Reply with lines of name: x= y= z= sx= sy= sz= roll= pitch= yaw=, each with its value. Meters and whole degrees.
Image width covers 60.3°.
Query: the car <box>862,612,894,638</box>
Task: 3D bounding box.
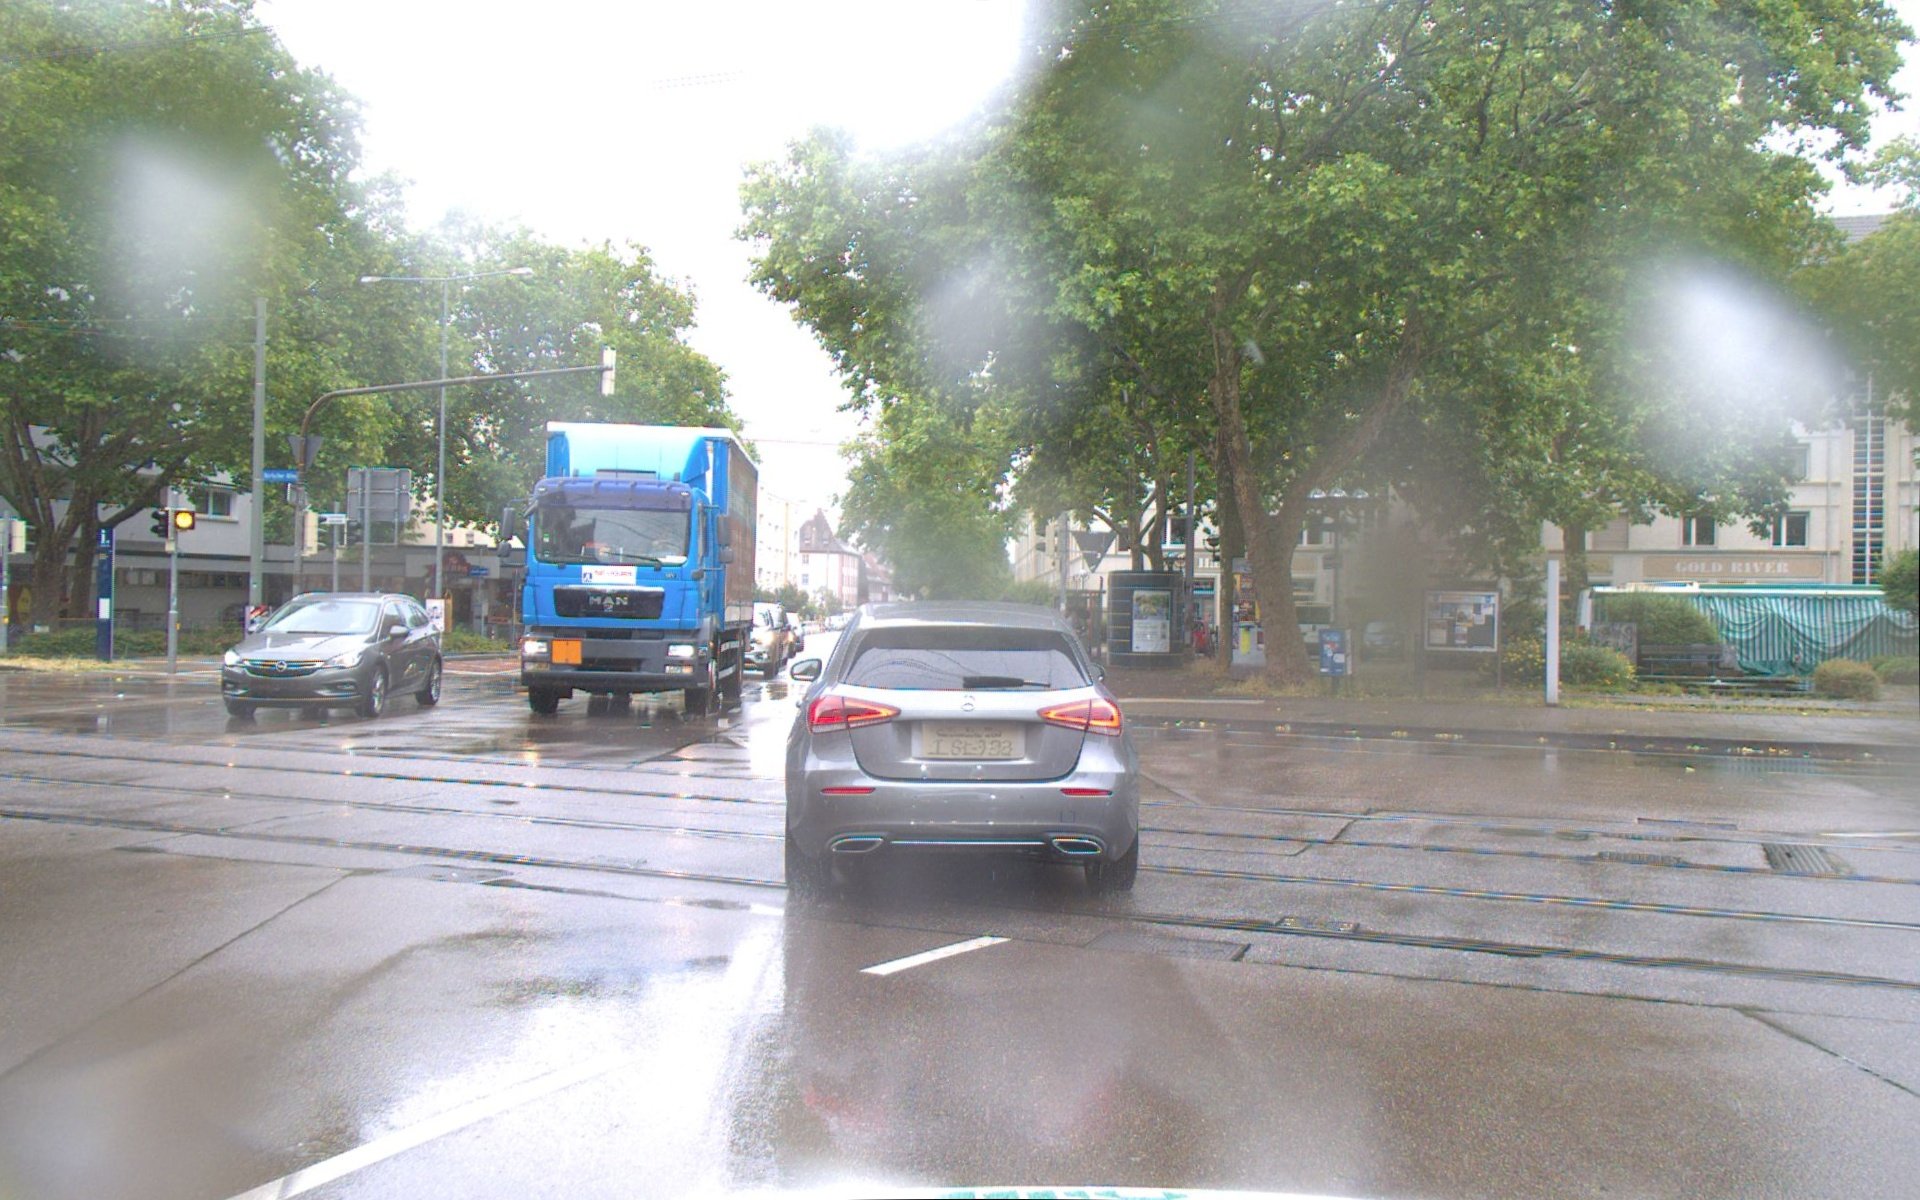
car: x=-5.395 y=1.629 z=108.086 sx=1.954 sy=1.601 sz=3.996 roll=1 pitch=-1 yaw=-5

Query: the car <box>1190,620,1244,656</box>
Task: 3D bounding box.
car: x=10.522 y=1.567 z=67.622 sx=1.550 sy=1.360 sz=3.262 roll=0 pitch=-3 yaw=20

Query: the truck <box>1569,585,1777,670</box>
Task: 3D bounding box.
truck: x=24.015 y=0.897 z=55.999 sx=6.245 sy=2.747 sz=2.269 roll=0 pitch=-1 yaw=18

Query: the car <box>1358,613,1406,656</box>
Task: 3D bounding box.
car: x=16.683 y=1.367 z=65.299 sx=1.644 sy=1.603 sz=3.737 roll=1 pitch=-1 yaw=17

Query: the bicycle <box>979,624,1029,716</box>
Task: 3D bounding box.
bicycle: x=0.741 y=1.105 z=27.081 sx=0.733 sy=1.401 sz=2.708 roll=0 pitch=0 yaw=3

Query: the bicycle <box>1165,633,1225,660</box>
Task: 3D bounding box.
bicycle: x=8.964 y=1.767 z=63.056 sx=2.205 sy=0.985 sz=0.534 roll=0 pitch=-1 yaw=20

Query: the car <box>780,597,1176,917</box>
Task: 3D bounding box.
car: x=-0.019 y=0.725 z=9.231 sx=1.756 sy=1.396 sz=3.504 roll=2 pitch=0 yaw=-4

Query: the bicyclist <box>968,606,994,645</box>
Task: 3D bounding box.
bicyclist: x=1.014 y=1.281 z=81.942 sx=0.925 sy=1.901 sz=1.135 roll=1 pitch=-3 yaw=-22

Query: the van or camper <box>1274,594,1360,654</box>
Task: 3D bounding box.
van or camper: x=14.404 y=0.961 z=66.474 sx=2.348 sy=2.270 sz=5.427 roll=0 pitch=-1 yaw=24

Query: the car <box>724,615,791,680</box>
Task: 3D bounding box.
car: x=-6.209 y=1.426 z=51.154 sx=1.771 sy=1.894 sz=4.106 roll=1 pitch=-1 yaw=-3

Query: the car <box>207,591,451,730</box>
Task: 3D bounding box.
car: x=-7.835 y=0.701 z=20.976 sx=1.692 sy=1.573 sz=4.336 roll=0 pitch=0 yaw=-4

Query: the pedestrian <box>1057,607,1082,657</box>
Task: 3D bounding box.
pedestrian: x=3.713 y=1.094 z=56.324 sx=0.703 sy=1.698 sz=0.663 roll=1 pitch=-1 yaw=-10

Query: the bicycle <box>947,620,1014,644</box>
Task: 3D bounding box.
bicycle: x=1.024 y=1.603 z=81.984 sx=3.161 sy=1.132 sz=1.047 roll=1 pitch=-3 yaw=-23

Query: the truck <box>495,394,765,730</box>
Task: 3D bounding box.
truck: x=-4.635 y=-0.434 z=25.419 sx=2.790 sy=4.096 sz=10.307 roll=0 pitch=0 yaw=-4

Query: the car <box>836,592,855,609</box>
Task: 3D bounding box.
car: x=-12.687 y=0.059 z=183.482 sx=1.851 sy=1.868 sz=4.000 roll=1 pitch=-1 yaw=0

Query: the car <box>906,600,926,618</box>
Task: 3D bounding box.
car: x=-4.641 y=1.008 z=176.455 sx=2.004 sy=1.868 sz=4.791 roll=1 pitch=-1 yaw=0

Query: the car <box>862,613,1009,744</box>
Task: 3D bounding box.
car: x=-0.380 y=0.858 z=19.857 sx=1.575 sy=1.396 sz=3.997 roll=0 pitch=0 yaw=-4

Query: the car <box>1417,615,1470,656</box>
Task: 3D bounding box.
car: x=19.110 y=1.428 z=65.348 sx=1.645 sy=1.457 sz=3.734 roll=0 pitch=-3 yaw=22

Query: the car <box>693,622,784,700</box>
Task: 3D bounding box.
car: x=-4.975 y=1.332 z=37.544 sx=1.708 sy=1.632 sz=3.997 roll=1 pitch=-1 yaw=-3

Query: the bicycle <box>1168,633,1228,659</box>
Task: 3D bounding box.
bicycle: x=9.163 y=1.767 z=63.681 sx=2.200 sy=0.985 sz=0.585 roll=0 pitch=-1 yaw=20

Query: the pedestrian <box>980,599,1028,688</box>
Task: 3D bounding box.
pedestrian: x=0.718 y=0.694 z=26.825 sx=0.728 sy=1.422 sz=1.047 roll=0 pitch=-1 yaw=3
